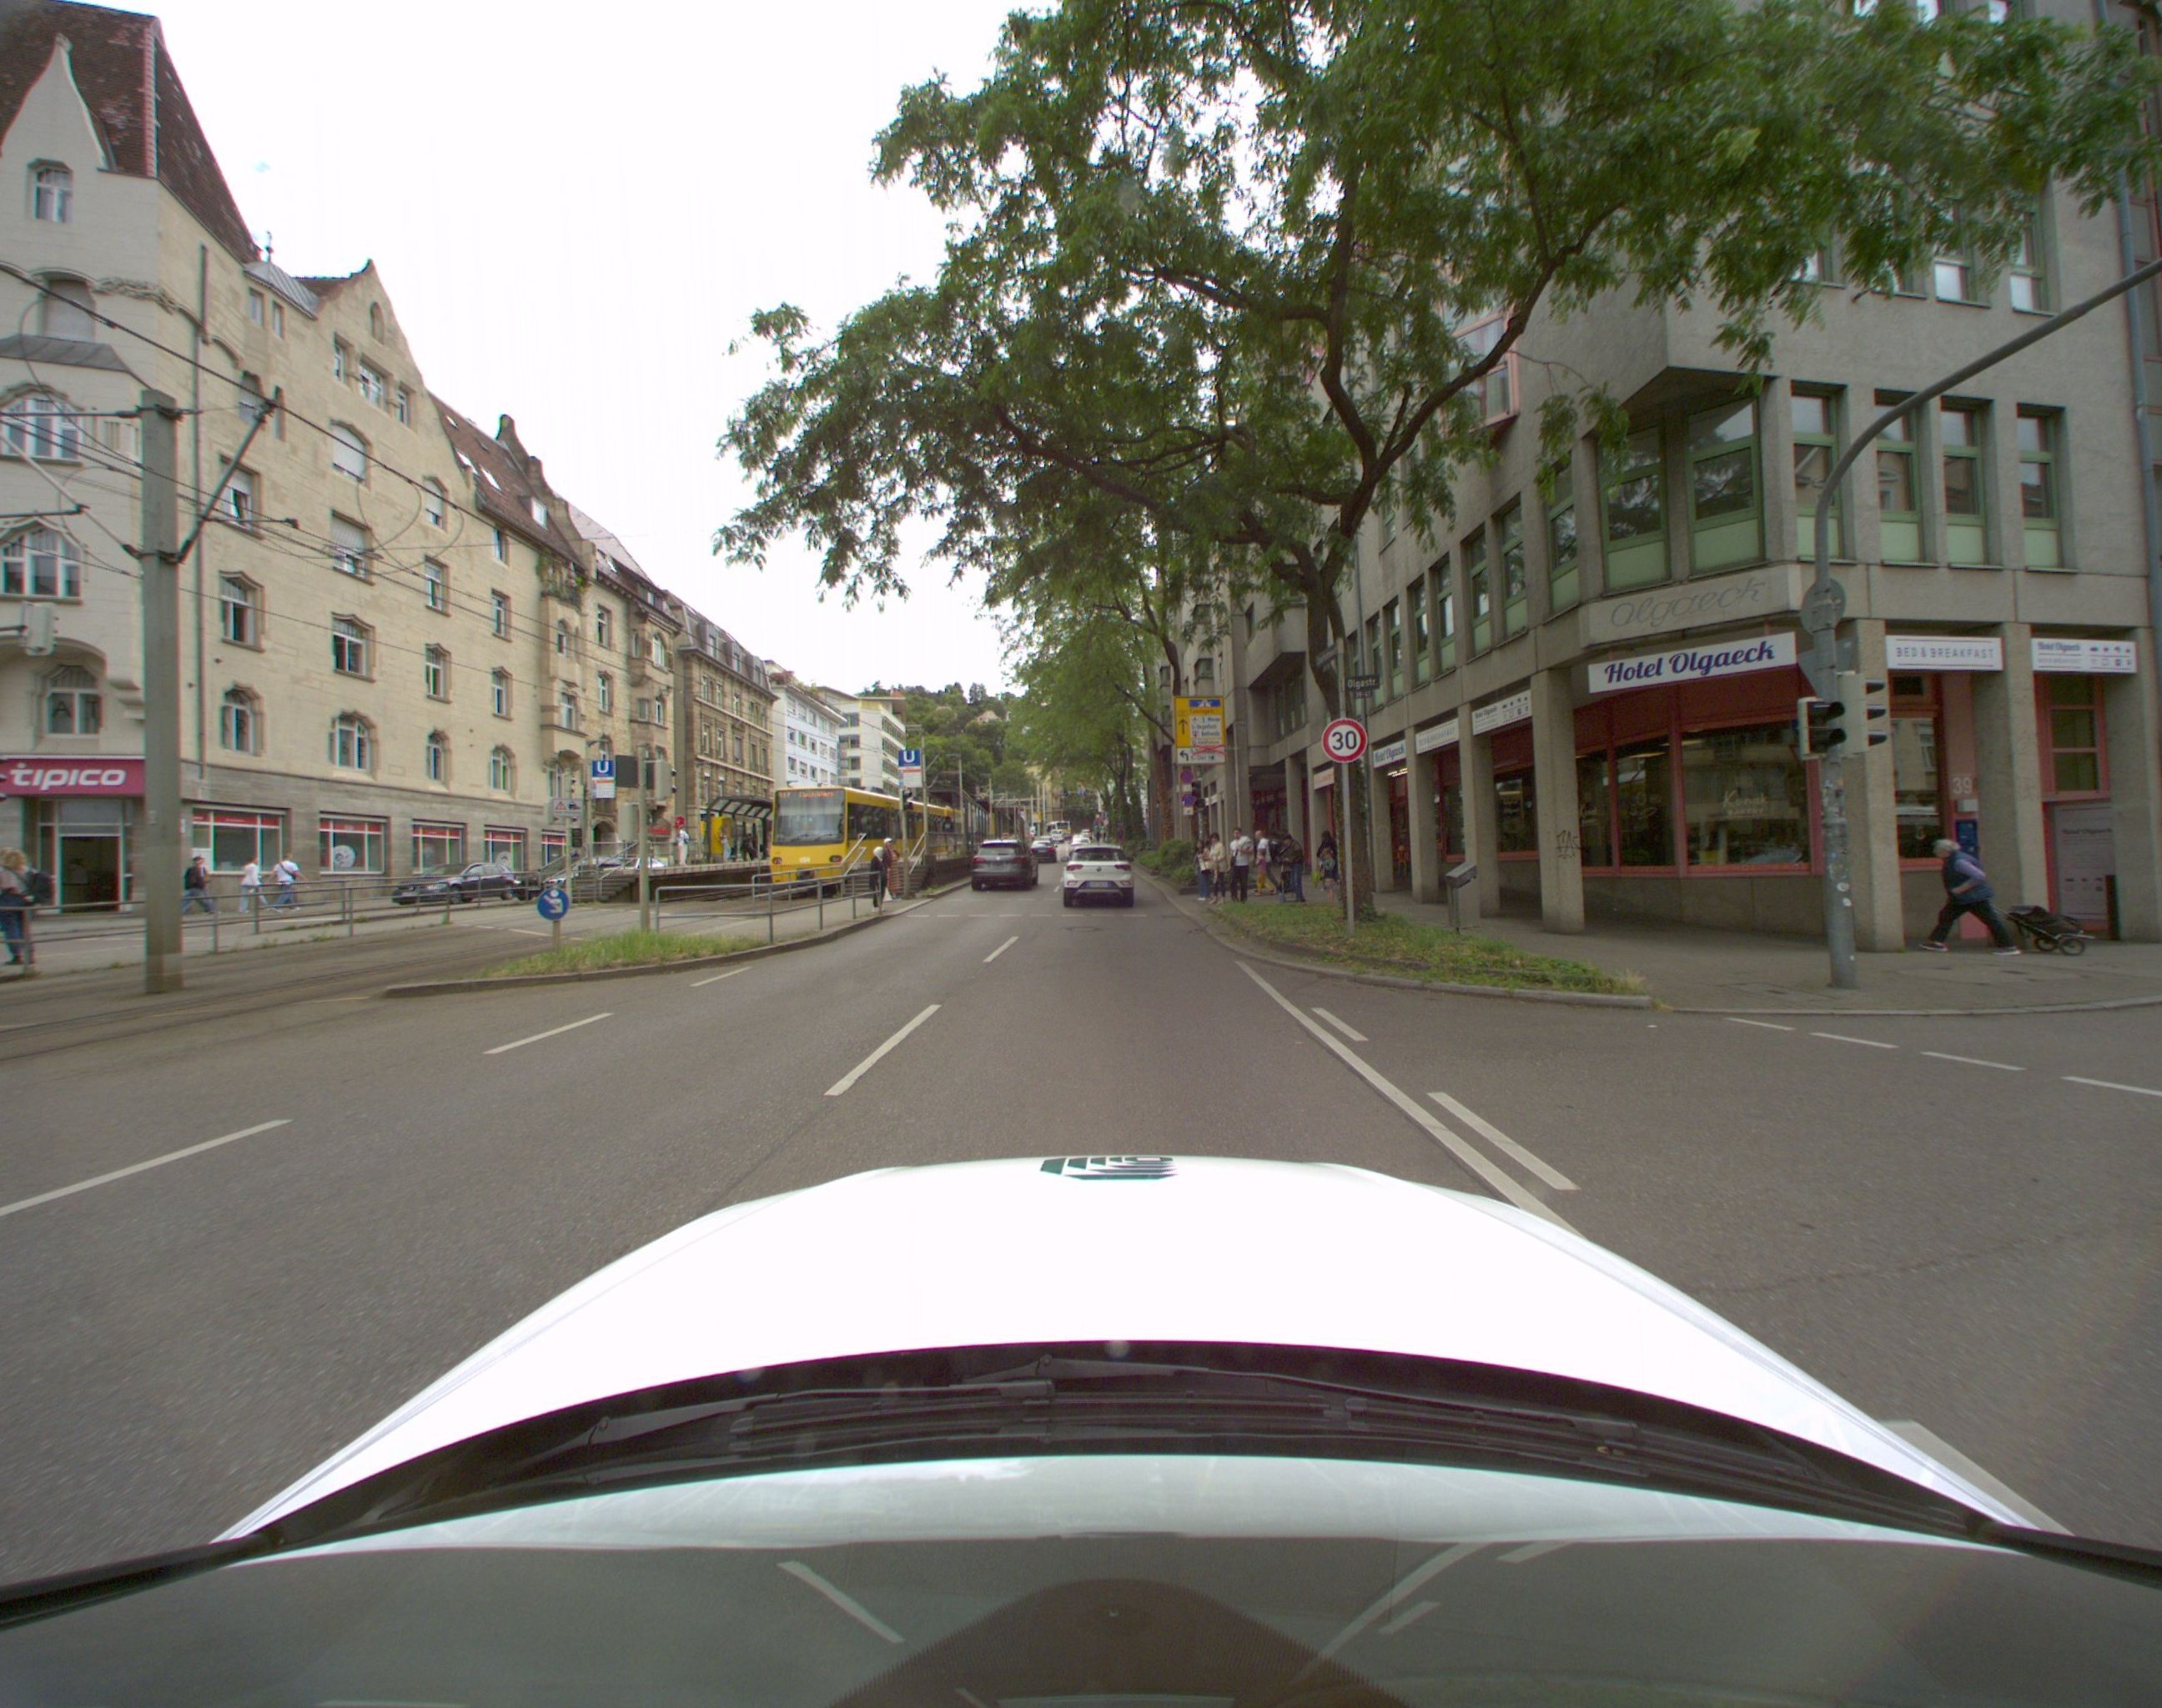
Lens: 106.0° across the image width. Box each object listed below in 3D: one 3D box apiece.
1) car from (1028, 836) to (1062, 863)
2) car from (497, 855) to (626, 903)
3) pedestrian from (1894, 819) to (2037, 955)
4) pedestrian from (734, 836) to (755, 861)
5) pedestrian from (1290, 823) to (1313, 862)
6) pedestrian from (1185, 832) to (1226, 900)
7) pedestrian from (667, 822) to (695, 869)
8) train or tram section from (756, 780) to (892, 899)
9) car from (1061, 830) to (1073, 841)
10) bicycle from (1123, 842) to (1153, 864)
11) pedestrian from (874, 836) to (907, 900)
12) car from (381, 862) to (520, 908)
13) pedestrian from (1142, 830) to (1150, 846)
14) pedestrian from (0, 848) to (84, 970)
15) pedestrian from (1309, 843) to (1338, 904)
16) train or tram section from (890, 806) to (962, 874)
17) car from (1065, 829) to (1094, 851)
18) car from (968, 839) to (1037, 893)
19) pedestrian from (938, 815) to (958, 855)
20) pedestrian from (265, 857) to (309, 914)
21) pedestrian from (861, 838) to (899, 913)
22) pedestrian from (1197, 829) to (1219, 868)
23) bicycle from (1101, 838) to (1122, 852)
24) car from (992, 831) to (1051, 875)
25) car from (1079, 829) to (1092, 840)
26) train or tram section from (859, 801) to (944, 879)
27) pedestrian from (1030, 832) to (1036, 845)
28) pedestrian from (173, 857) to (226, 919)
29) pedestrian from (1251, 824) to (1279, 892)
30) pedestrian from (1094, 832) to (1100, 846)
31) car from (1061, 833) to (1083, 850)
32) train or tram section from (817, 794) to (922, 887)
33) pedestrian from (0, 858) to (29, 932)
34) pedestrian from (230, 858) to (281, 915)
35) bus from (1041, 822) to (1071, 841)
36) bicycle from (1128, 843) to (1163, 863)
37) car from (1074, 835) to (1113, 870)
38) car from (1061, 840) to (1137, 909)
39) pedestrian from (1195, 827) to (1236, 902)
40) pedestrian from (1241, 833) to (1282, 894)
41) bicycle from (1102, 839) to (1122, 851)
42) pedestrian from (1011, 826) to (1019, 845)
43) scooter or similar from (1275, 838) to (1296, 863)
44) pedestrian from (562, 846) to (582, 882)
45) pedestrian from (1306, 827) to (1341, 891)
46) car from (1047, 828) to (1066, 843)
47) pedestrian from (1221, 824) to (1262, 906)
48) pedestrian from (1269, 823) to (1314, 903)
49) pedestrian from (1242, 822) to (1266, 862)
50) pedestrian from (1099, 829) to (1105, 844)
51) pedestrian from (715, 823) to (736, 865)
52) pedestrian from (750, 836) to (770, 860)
[{"bbox_3d":[-2.320,-0.302,53.417,1.905,1.689,4.002,0,2,2],"label":"car"},{"bbox_3d":[-18.175,0.819,28.726,1.901,1.574,4.001,0,0,1],"label":"car"},{"bbox_3d":[11.811,0.415,10.927,1.111,1.712,0.861,-1,0,34],"label":"pedestrian"},{"bbox_3d":[-15.430,-0.266,37.363,0.633,1.107,0.690,-1,1,-1],"label":"pedestrian"},{"bbox_3d":[9.879,-0.518,36.490,0.759,1.723,0.677,-3,0,2],"label":"pedestrian"},{"bbox_3d":[3.269,0.306,21.427,0.834,1.704,0.763,-3,1,-5],"label":"pedestrian"},{"bbox_3d":[-14.871,-0.324,30.273,0.686,1.711,0.661,-1,1,-2],"label":"pedestrian"},{"bbox_3d":[-8.644,-0.494,28.184,2.826,3.678,5.752,0,1,0],"label":"train or tram section"},{"bbox_3d":[-2.334,-3.062,133.630,1.879,1.684,4.160,0,0,0],"label":"car"},{"bbox_3d":[3.218,-0.055,46.182,1.613,1.128,0.614,-4,1,3],"label":"bicycle"},{"bbox_3d":[-5.150,0.371,22.093,0.683,1.711,0.711,-1,1,-1],"label":"pedestrian"},{"bbox_3d":[-21.588,1.016,28.081,1.624,1.375,3.787,-1,0,4],"label":"car"},{"bbox_3d":[6.434,-1.571,80.866,0.638,1.608,0.583,0,-1,-21],"label":"pedestrian"},{"bbox_3d":[-15.371,0.771,11.914,0.866,1.705,0.817,-1,0,28],"label":"pedestrian"},{"bbox_3d":[5.399,0.435,18.153,0.470,1.333,0.519,0,0,-5],"label":"pedestrian"},{"bbox_3d":[-8.537,-0.760,45.488,2.826,3.520,5.752,0,1,0],"label":"train or tram section"},{"bbox_3d":[-0.153,-1.089,64.814,1.883,1.684,4.151,0,0,-7],"label":"car"},{"bbox_3d":[-2.570,0.342,27.684,1.988,1.635,3.999,-1,2,-1],"label":"car"},{"bbox_3d":[-5.833,-0.812,35.777,0.715,1.731,0.671,0,0,1],"label":"pedestrian"},{"bbox_3d":[-24.186,0.957,24.813,0.600,1.705,0.711,-1,0,5],"label":"pedestrian"},{"bbox_3d":[-4.715,0.483,19.151,0.633,1.711,0.871,-1,1,-1],"label":"pedestrian"},{"bbox_3d":[5.969,-0.278,38.309,0.761,1.782,0.846,-3,3,-6],"label":"pedestrian"},{"bbox_3d":[2.905,-0.859,78.144,1.869,1.266,0.766,0,0,10],"label":"bicycle"},{"bbox_3d":[-2.821,-0.050,39.933,2.356,2.014,5.150,0,0,1],"label":"car"},{"bbox_3d":[0.722,-3.197,135.578,1.882,1.684,4.154,0,0,-5],"label":"car"},{"bbox_3d":[-8.591,-0.658,39.705,2.826,3.520,5.752,0,1,0],"label":"train or tram section"},{"bbox_3d":[-7.062,-2.269,119.360,0.759,2.014,0.838,0,0,0],"label":"pedestrian"},{"bbox_3d":[-24.949,0.958,23.062,0.778,1.705,0.654,-1,0,5],"label":"pedestrian"},{"bbox_3d":[4.904,0.111,21.774,0.517,1.789,0.763,0,0,-5],"label":"pedestrian"},{"bbox_3d":[2.357,-2.239,118.638,0.758,2.014,0.839,0,0,5],"label":"pedestrian"},{"bbox_3d":[-1.166,-1.481,100.219,2.361,2.014,5.138,0,0,-5],"label":"car"},{"bbox_3d":[-8.620,-0.549,33.950,2.826,3.520,5.752,0,1,0],"label":"train or tram section"},{"bbox_3d":[-24.922,0.950,18.722,0.668,1.677,0.694,-1,0,17],"label":"pedestrian"},{"bbox_3d":[-25.136,0.983,24.807,0.778,1.705,0.724,-1,0,5],"label":"pedestrian"},{"bbox_3d":[-4.757,-4.077,151.694,3.374,3.064,13.270,0,0,-12],"label":"bus"},{"bbox_3d":[3.758,-0.067,47.410,1.912,1.076,0.612,-4,1,-4],"label":"bicycle"},{"bbox_3d":[0.595,-0.076,41.779,1.879,1.684,4.159,0,0,-1],"label":"car"},{"bbox_3d":[0.498,0.464,21.711,1.831,1.583,4.159,0,2,2],"label":"car"},{"bbox_3d":[3.336,0.259,20.289,0.692,1.777,0.688,-6,0,-5],"label":"pedestrian"},{"bbox_3d":[4.678,0.242,21.124,0.834,1.563,0.763,0,0,-5],"label":"pedestrian"},{"bbox_3d":[3.069,-0.913,79.639,1.871,1.137,0.809,0,0,5],"label":"bicycle"},{"bbox_3d":[-7.216,-2.051,88.909,0.761,2.014,0.836,0,0,-8],"label":"pedestrian"},{"bbox_3d":[9.394,-0.159,37.437,0.849,1.110,0.767,-3,0,15],"label":"scooter or similar"},{"bbox_3d":[-25.368,0.505,40.580,0.632,1.762,0.836,-1,0,-43],"label":"pedestrian"},{"bbox_3d":[6.341,0.128,21.279,0.610,1.612,0.769,-1,3,35],"label":"pedestrian"},{"bbox_3d":[-3.561,-2.752,120.479,2.355,2.014,5.152,0,0,3],"label":"car"},{"bbox_3d":[3.771,0.250,19.187,0.732,1.874,0.732,-1,0,-5],"label":"pedestrian"},{"bbox_3d":[4.946,0.188,19.137,0.720,1.802,0.833,-4,3,-5],"label":"pedestrian"},{"bbox_3d":[8.032,-0.560,37.819,0.829,1.803,0.723,-3,1,-1],"label":"pedestrian"},{"bbox_3d":[2.828,-2.361,111.765,0.758,2.014,0.839,0,0,5],"label":"pedestrian"},{"bbox_3d":[-14.929,-0.420,34.200,0.635,1.711,0.688,-1,1,-9],"label":"pedestrian"},{"bbox_3d":[-15.329,-0.282,38.932,0.633,1.107,0.690,-1,1,-1],"label":"pedestrian"}]
